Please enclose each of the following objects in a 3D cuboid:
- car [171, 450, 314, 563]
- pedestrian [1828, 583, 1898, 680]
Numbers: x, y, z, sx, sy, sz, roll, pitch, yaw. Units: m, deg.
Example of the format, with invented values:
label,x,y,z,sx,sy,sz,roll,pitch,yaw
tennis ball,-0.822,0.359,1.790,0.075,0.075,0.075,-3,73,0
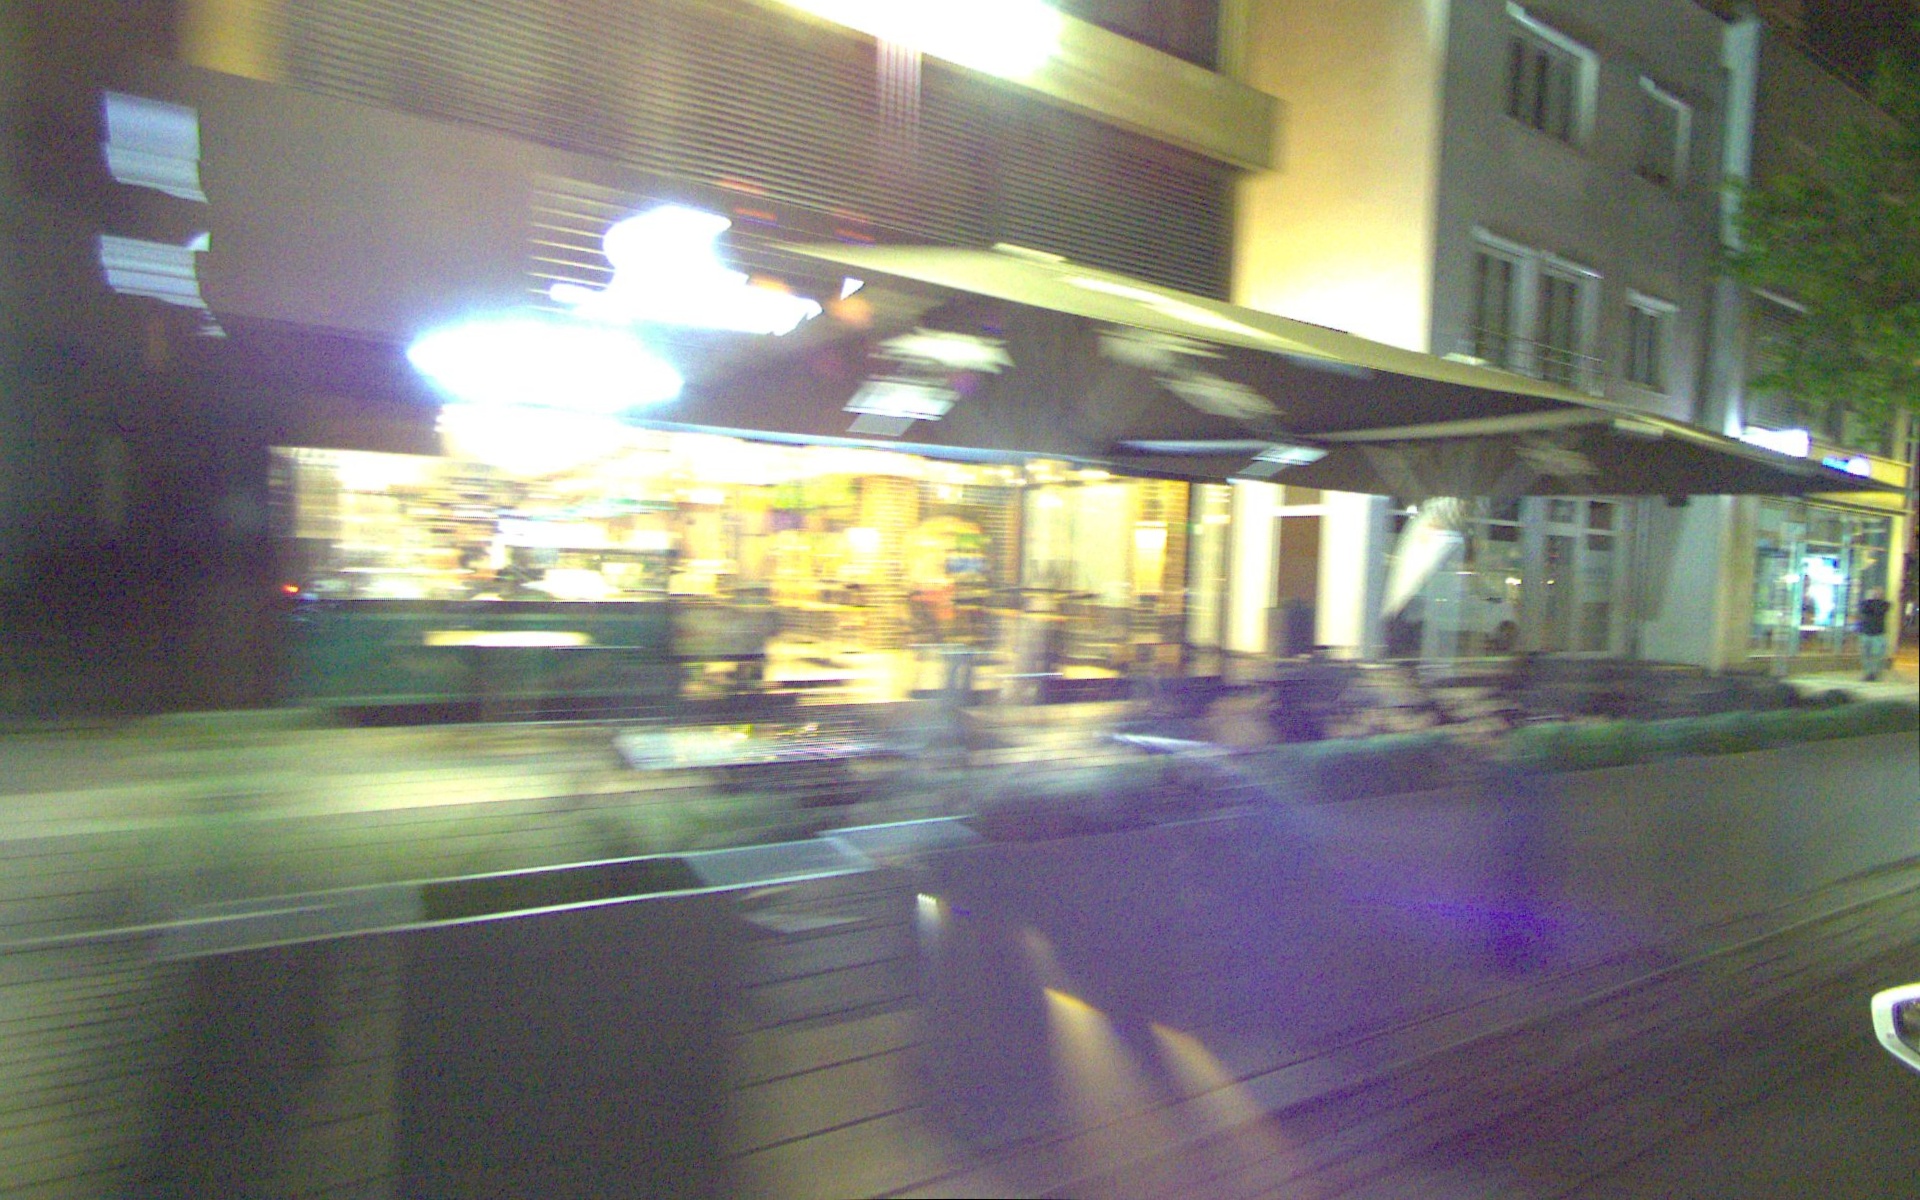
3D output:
label,x,y,z,sx,sy,sz,roll,pitch,yaw
car,-14.976,-1.848,21.189,1.976,2.041,3.969,1,1,-29
pedestrian,16.820,0.574,18.704,0.898,1.742,0.665,1,2,-30
